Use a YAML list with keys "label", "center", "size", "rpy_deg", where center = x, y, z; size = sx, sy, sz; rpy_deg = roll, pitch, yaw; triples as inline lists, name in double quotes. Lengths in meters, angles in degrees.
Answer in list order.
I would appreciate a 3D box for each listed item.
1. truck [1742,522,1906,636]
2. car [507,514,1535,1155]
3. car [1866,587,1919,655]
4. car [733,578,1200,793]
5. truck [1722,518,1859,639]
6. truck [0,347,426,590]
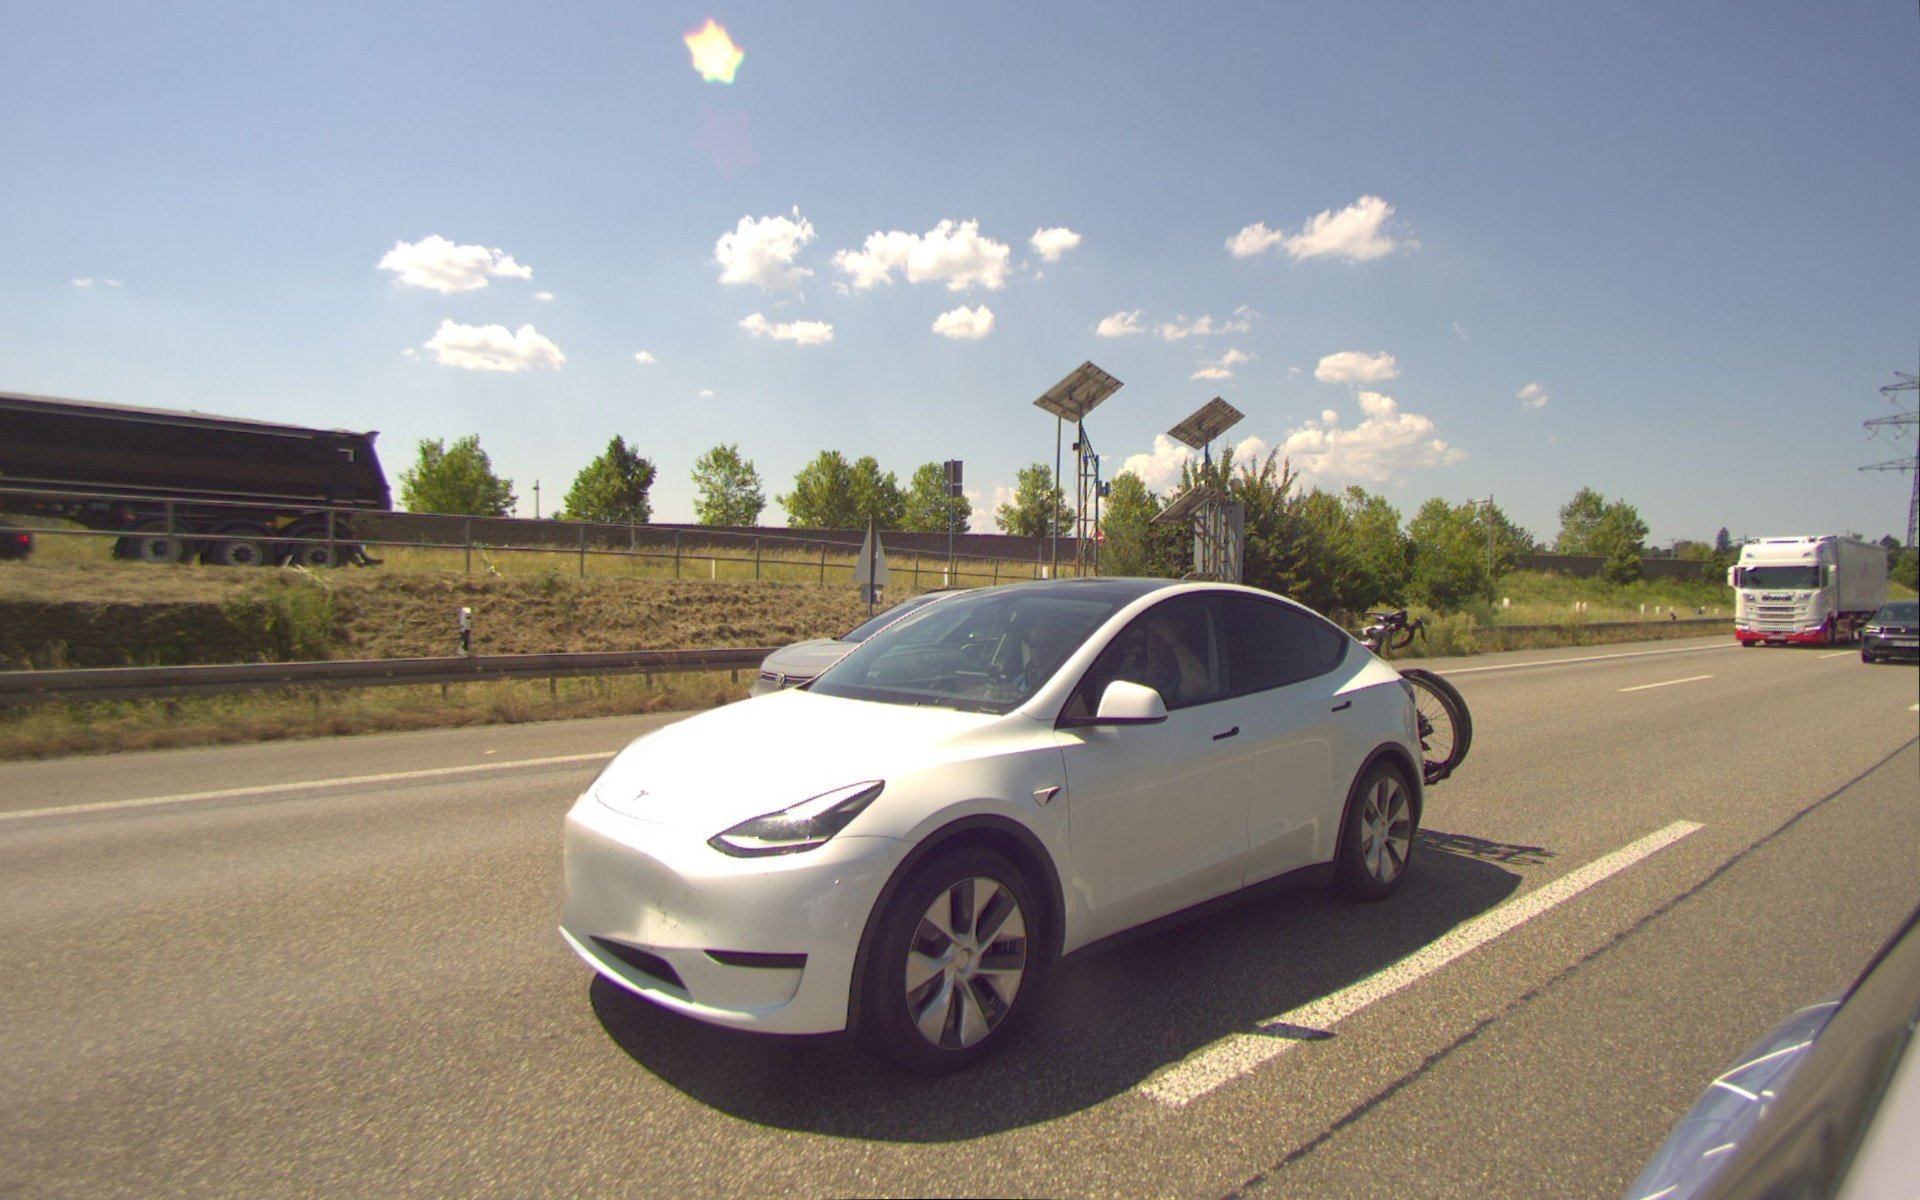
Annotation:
- label: "truck"
  center: [34.463, -0.755, 40.086]
  size: [12.284, 3.957, 3.074]
  rpy_deg: [0, 0, -41]
- label: "car"
  center: [0.862, 0.585, 5.188]
  size: [5.503, 1.657, 1.953]
  rpy_deg: [-1, 0, -42]
- label: "car"
  center: [24.815, 0.492, 25.810]
  size: [3.975, 1.667, 1.954]
  rpy_deg: [-1, 0, -39]
- label: "car"
  center: [0.235, 0.643, 9.990]
  size: [4.505, 1.657, 1.871]
  rpy_deg: [-1, 0, -40]
- label: "truck"
  center: [29.075, -0.715, 35.436]
  size: [3.779, 3.957, 3.074]
  rpy_deg: [0, 0, -40]
- label: "truck"
  center: [-17.288, -2.265, 19.044]
  size: [12.303, 4.135, 3.793]
  rpy_deg: [-1, 0, -42]
